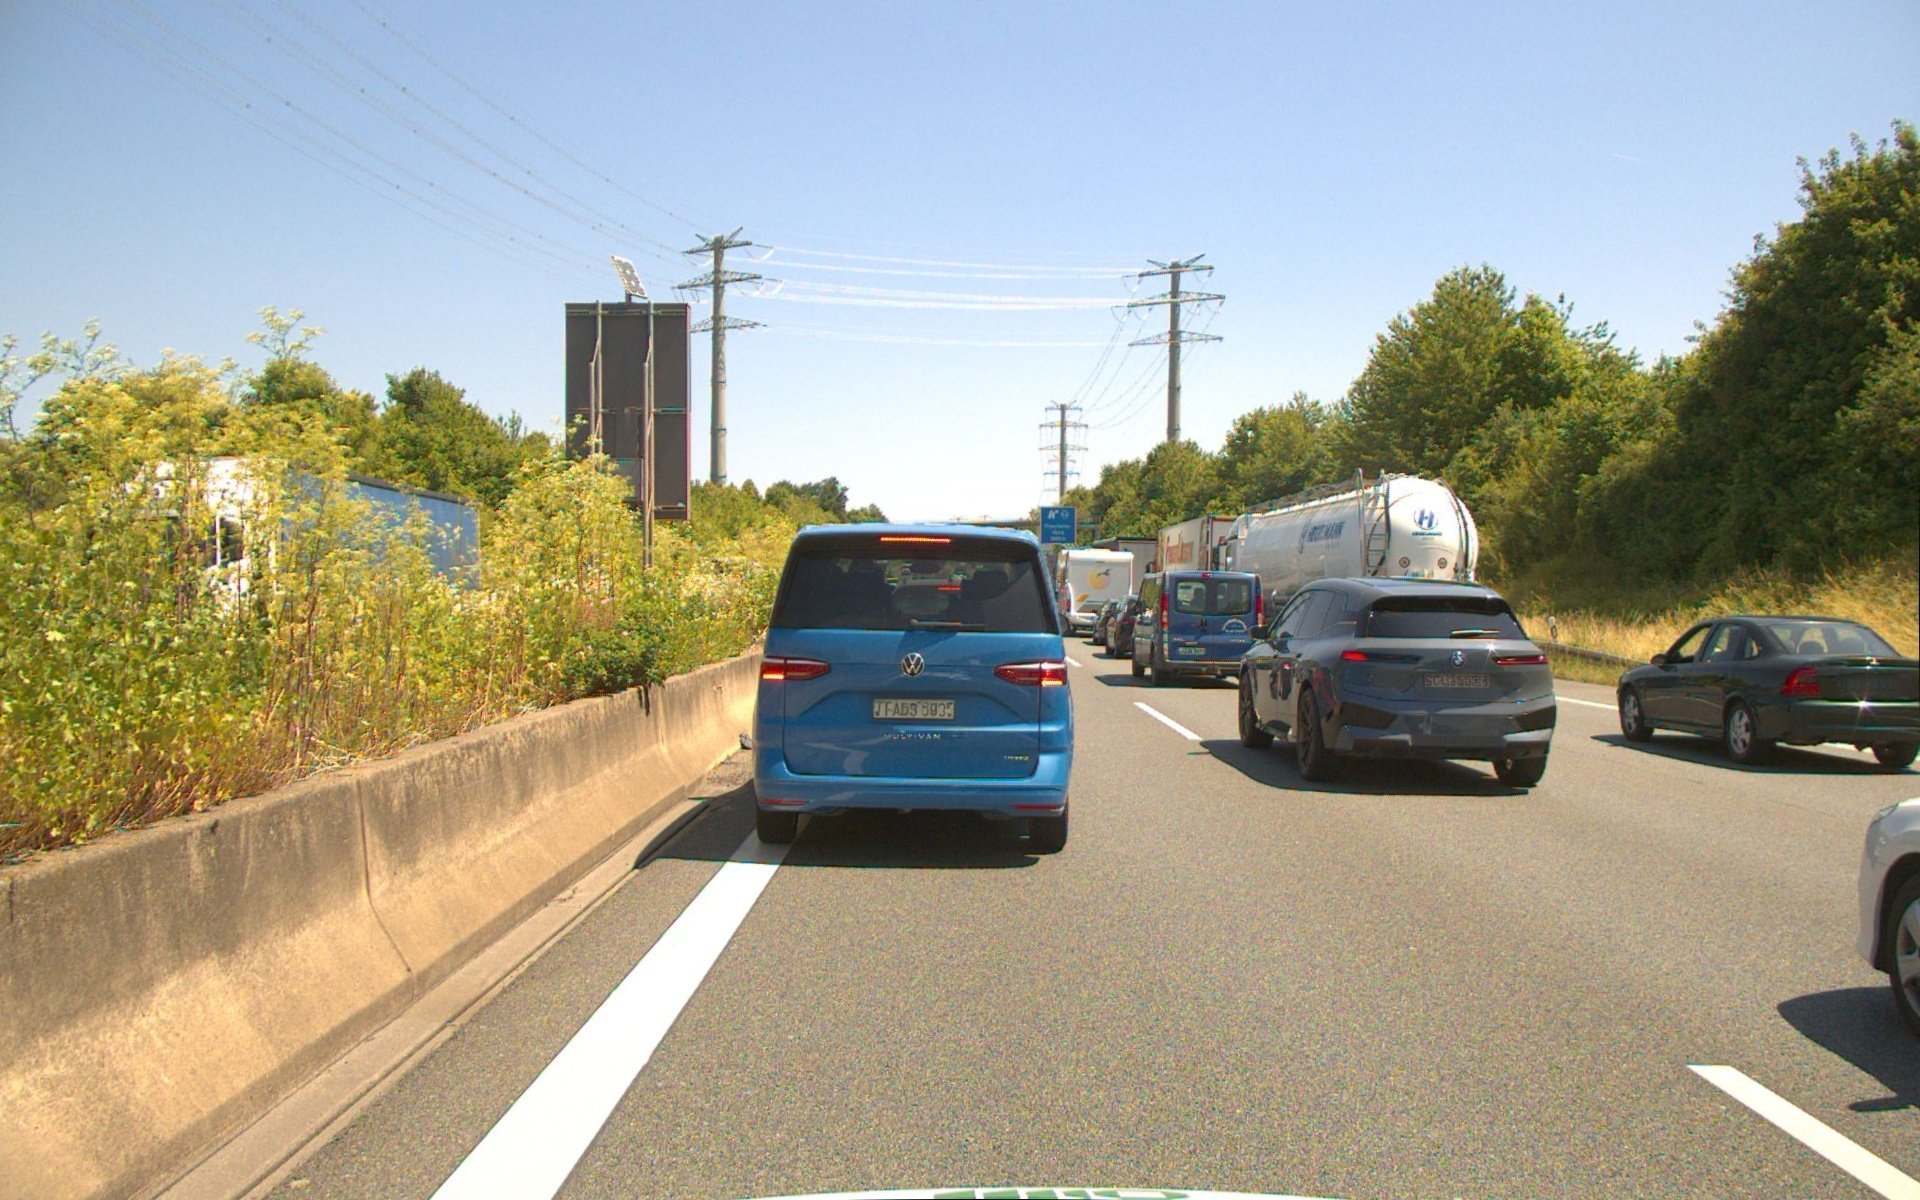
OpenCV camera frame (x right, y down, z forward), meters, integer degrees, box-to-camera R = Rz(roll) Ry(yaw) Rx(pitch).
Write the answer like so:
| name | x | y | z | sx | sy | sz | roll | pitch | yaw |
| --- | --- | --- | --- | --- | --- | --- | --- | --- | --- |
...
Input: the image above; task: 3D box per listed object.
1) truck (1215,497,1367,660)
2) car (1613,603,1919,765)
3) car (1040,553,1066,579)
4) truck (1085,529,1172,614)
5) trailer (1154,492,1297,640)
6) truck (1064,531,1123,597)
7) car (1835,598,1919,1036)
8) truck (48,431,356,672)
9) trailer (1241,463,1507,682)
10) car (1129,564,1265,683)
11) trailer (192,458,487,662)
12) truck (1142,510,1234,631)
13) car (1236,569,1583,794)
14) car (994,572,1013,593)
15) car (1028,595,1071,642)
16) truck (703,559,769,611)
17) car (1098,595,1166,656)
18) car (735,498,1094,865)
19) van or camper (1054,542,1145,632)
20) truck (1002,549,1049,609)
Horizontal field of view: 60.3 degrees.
| name | x | y | z | sx | sy | sz | roll | pitch | yaw |
| --- | --- | --- | --- | --- | --- | --- | --- | --- | --- |
| truck | 8.352 | -0.518 | 42.414 | 2.736 | 3.903 | 5.571 | 0 | 0 | -1 |
| car | 8.303 | 0.779 | 16.997 | 1.607 | 1.441 | 3.989 | -1 | -1 | 0 |
| car | 7.894 | -2.894 | 141.046 | 1.953 | 2.049 | 4.000 | 0 | 0 | 0 |
| truck | 8.236 | -1.247 | 82.814 | 2.944 | 3.832 | 15.713 | 0 | 0 | 1 |
| trailer | 8.898 | -1.062 | 57.055 | 2.853 | 4.547 | 12.152 | 0 | 0 | -1 |
| truck | 8.321 | -2.148 | 104.656 | 2.836 | 3.832 | 13.345 | 0 | 0 | 1 |
| car | 4.174 | 0.735 | 4.264 | 1.779 | 1.511 | 4.000 | 0 | -1 | 1 |
| truck | -14.822 | -0.868 | 33.020 | 2.949 | 4.302 | 6.686 | 0 | 0 | 1 |
| trailer | 8.398 | -0.503 | 35.382 | 2.705 | 3.912 | 11.484 | 0 | 0 | -1 |
| car | 4.196 | 0.416 | 29.862 | 1.884 | 1.959 | 4.236 | -1 | -1 | 1 |
| trailer | -14.748 | -0.830 | 40.638 | 2.949 | 4.302 | 10.981 | 0 | 0 | 1 |
| truck | 8.834 | -1.099 | 64.611 | 2.853 | 4.547 | 5.142 | 0 | 0 | -1 |
| car | 3.871 | 0.652 | 15.151 | 1.958 | 1.745 | 4.625 | 0 | -1 | 0 |
| car | 4.737 | -1.881 | 179.648 | 1.953 | 2.163 | 3.999 | 0 | 0 | -1 |
| car | 4.008 | 0.828 | 74.799 | 1.798 | 2.033 | 4.000 | -1 | -1 | 1 |
| truck | -15.119 | -0.967 | 112.579 | 2.708 | 3.346 | 11.820 | 0 | 0 | 1 |
| car | 4.272 | 0.625 | 41.477 | 1.332 | 1.445 | 3.884 | -1 | -1 | 0 |
| car | -0.242 | 0.424 | 10.886 | 1.881 | 1.919 | 4.000 | 2 | 0 | 0 |
| van or camper | 4.996 | -0.442 | 60.413 | 2.896 | 3.075 | 7.103 | 0 | 0 | 1 |
| truck | 4.358 | -1.323 | 111.372 | 2.836 | 3.832 | 10.140 | 0 | 0 | 1 |
